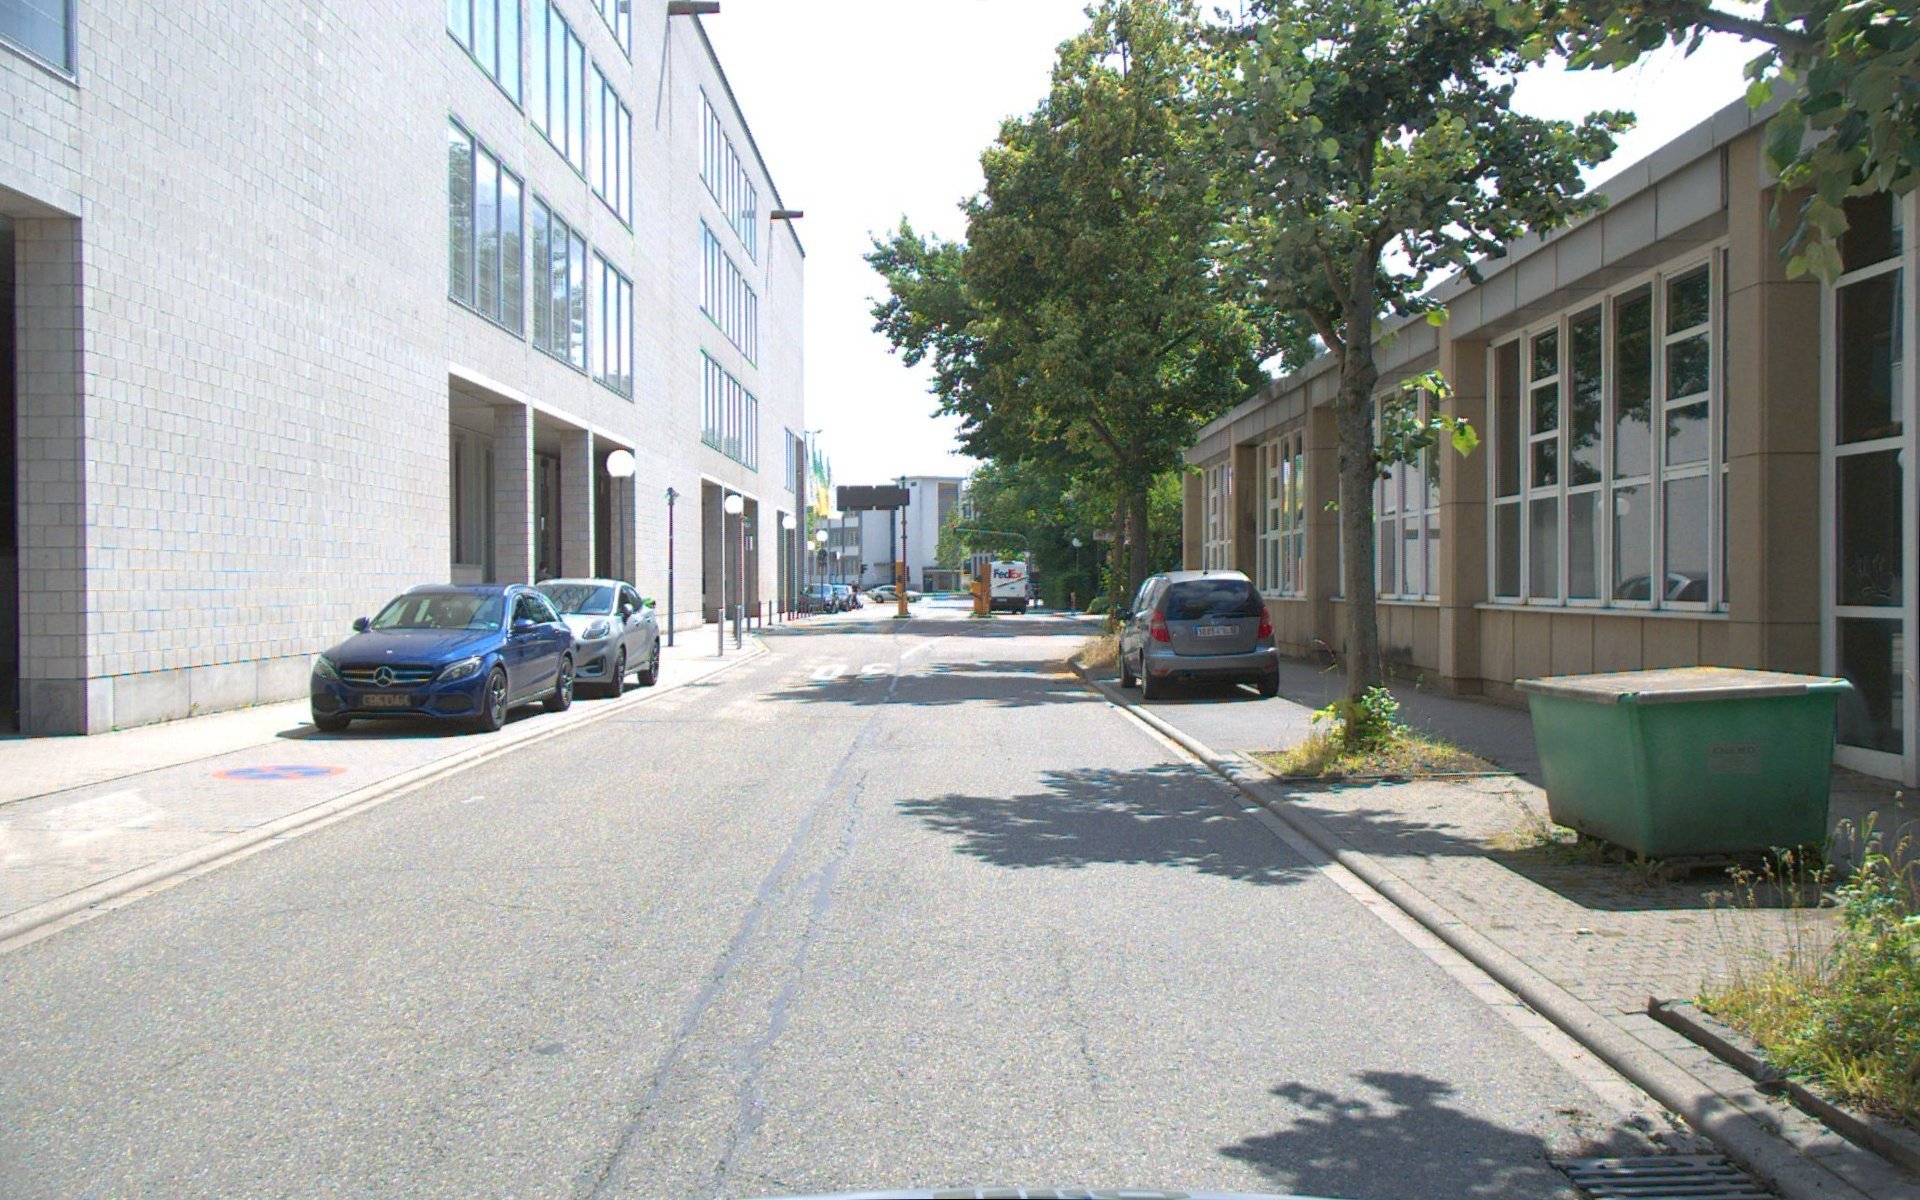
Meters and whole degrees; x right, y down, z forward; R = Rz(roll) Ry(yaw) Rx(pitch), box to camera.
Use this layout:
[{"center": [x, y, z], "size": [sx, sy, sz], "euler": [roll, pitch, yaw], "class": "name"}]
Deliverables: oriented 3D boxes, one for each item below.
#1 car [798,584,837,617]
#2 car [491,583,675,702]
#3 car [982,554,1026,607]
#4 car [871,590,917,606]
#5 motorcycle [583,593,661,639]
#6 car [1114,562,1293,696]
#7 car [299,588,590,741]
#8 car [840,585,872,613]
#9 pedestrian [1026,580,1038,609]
[{"center": [-7.136, 0.038, 83.007], "size": [1.612, 1.524, 3.728], "euler": [-1, -1, -1], "class": "car"}, {"center": [-5.181, 0.535, 23.221], "size": [1.597, 1.510, 4.178], "euler": [0, 0, 0], "class": "car"}, {"center": [2.179, -0.967, 82.518], "size": [2.041, 2.584, 4.315], "euler": [0, 1, -1], "class": "car"}, {"center": [-5.427, -0.169, 135.905], "size": [3.652, 1.353, 1.667], "euler": [0, 0, 2], "class": "car"}, {"center": [-8.505, 0.391, 41.616], "size": [1.825, 1.124, 0.656], "euler": [-1, 0, -21], "class": "motorcycle"}, {"center": [3.211, 0.340, 22.501], "size": [1.820, 1.601, 4.000], "euler": [-2, 1, 0], "class": "car"}, {"center": [-5.394, 0.611, 17.887], "size": [1.730, 1.452, 4.235], "euler": [0, 0, 1], "class": "car"}, {"center": [-5.984, -0.040, 95.027], "size": [1.612, 1.524, 3.728], "euler": [-1, -1, -1], "class": "car"}, {"center": [4.448, -0.348, 102.062], "size": [0.646, 1.759, 0.635], "euler": [0, 0, -1], "class": "pedestrian"}]
